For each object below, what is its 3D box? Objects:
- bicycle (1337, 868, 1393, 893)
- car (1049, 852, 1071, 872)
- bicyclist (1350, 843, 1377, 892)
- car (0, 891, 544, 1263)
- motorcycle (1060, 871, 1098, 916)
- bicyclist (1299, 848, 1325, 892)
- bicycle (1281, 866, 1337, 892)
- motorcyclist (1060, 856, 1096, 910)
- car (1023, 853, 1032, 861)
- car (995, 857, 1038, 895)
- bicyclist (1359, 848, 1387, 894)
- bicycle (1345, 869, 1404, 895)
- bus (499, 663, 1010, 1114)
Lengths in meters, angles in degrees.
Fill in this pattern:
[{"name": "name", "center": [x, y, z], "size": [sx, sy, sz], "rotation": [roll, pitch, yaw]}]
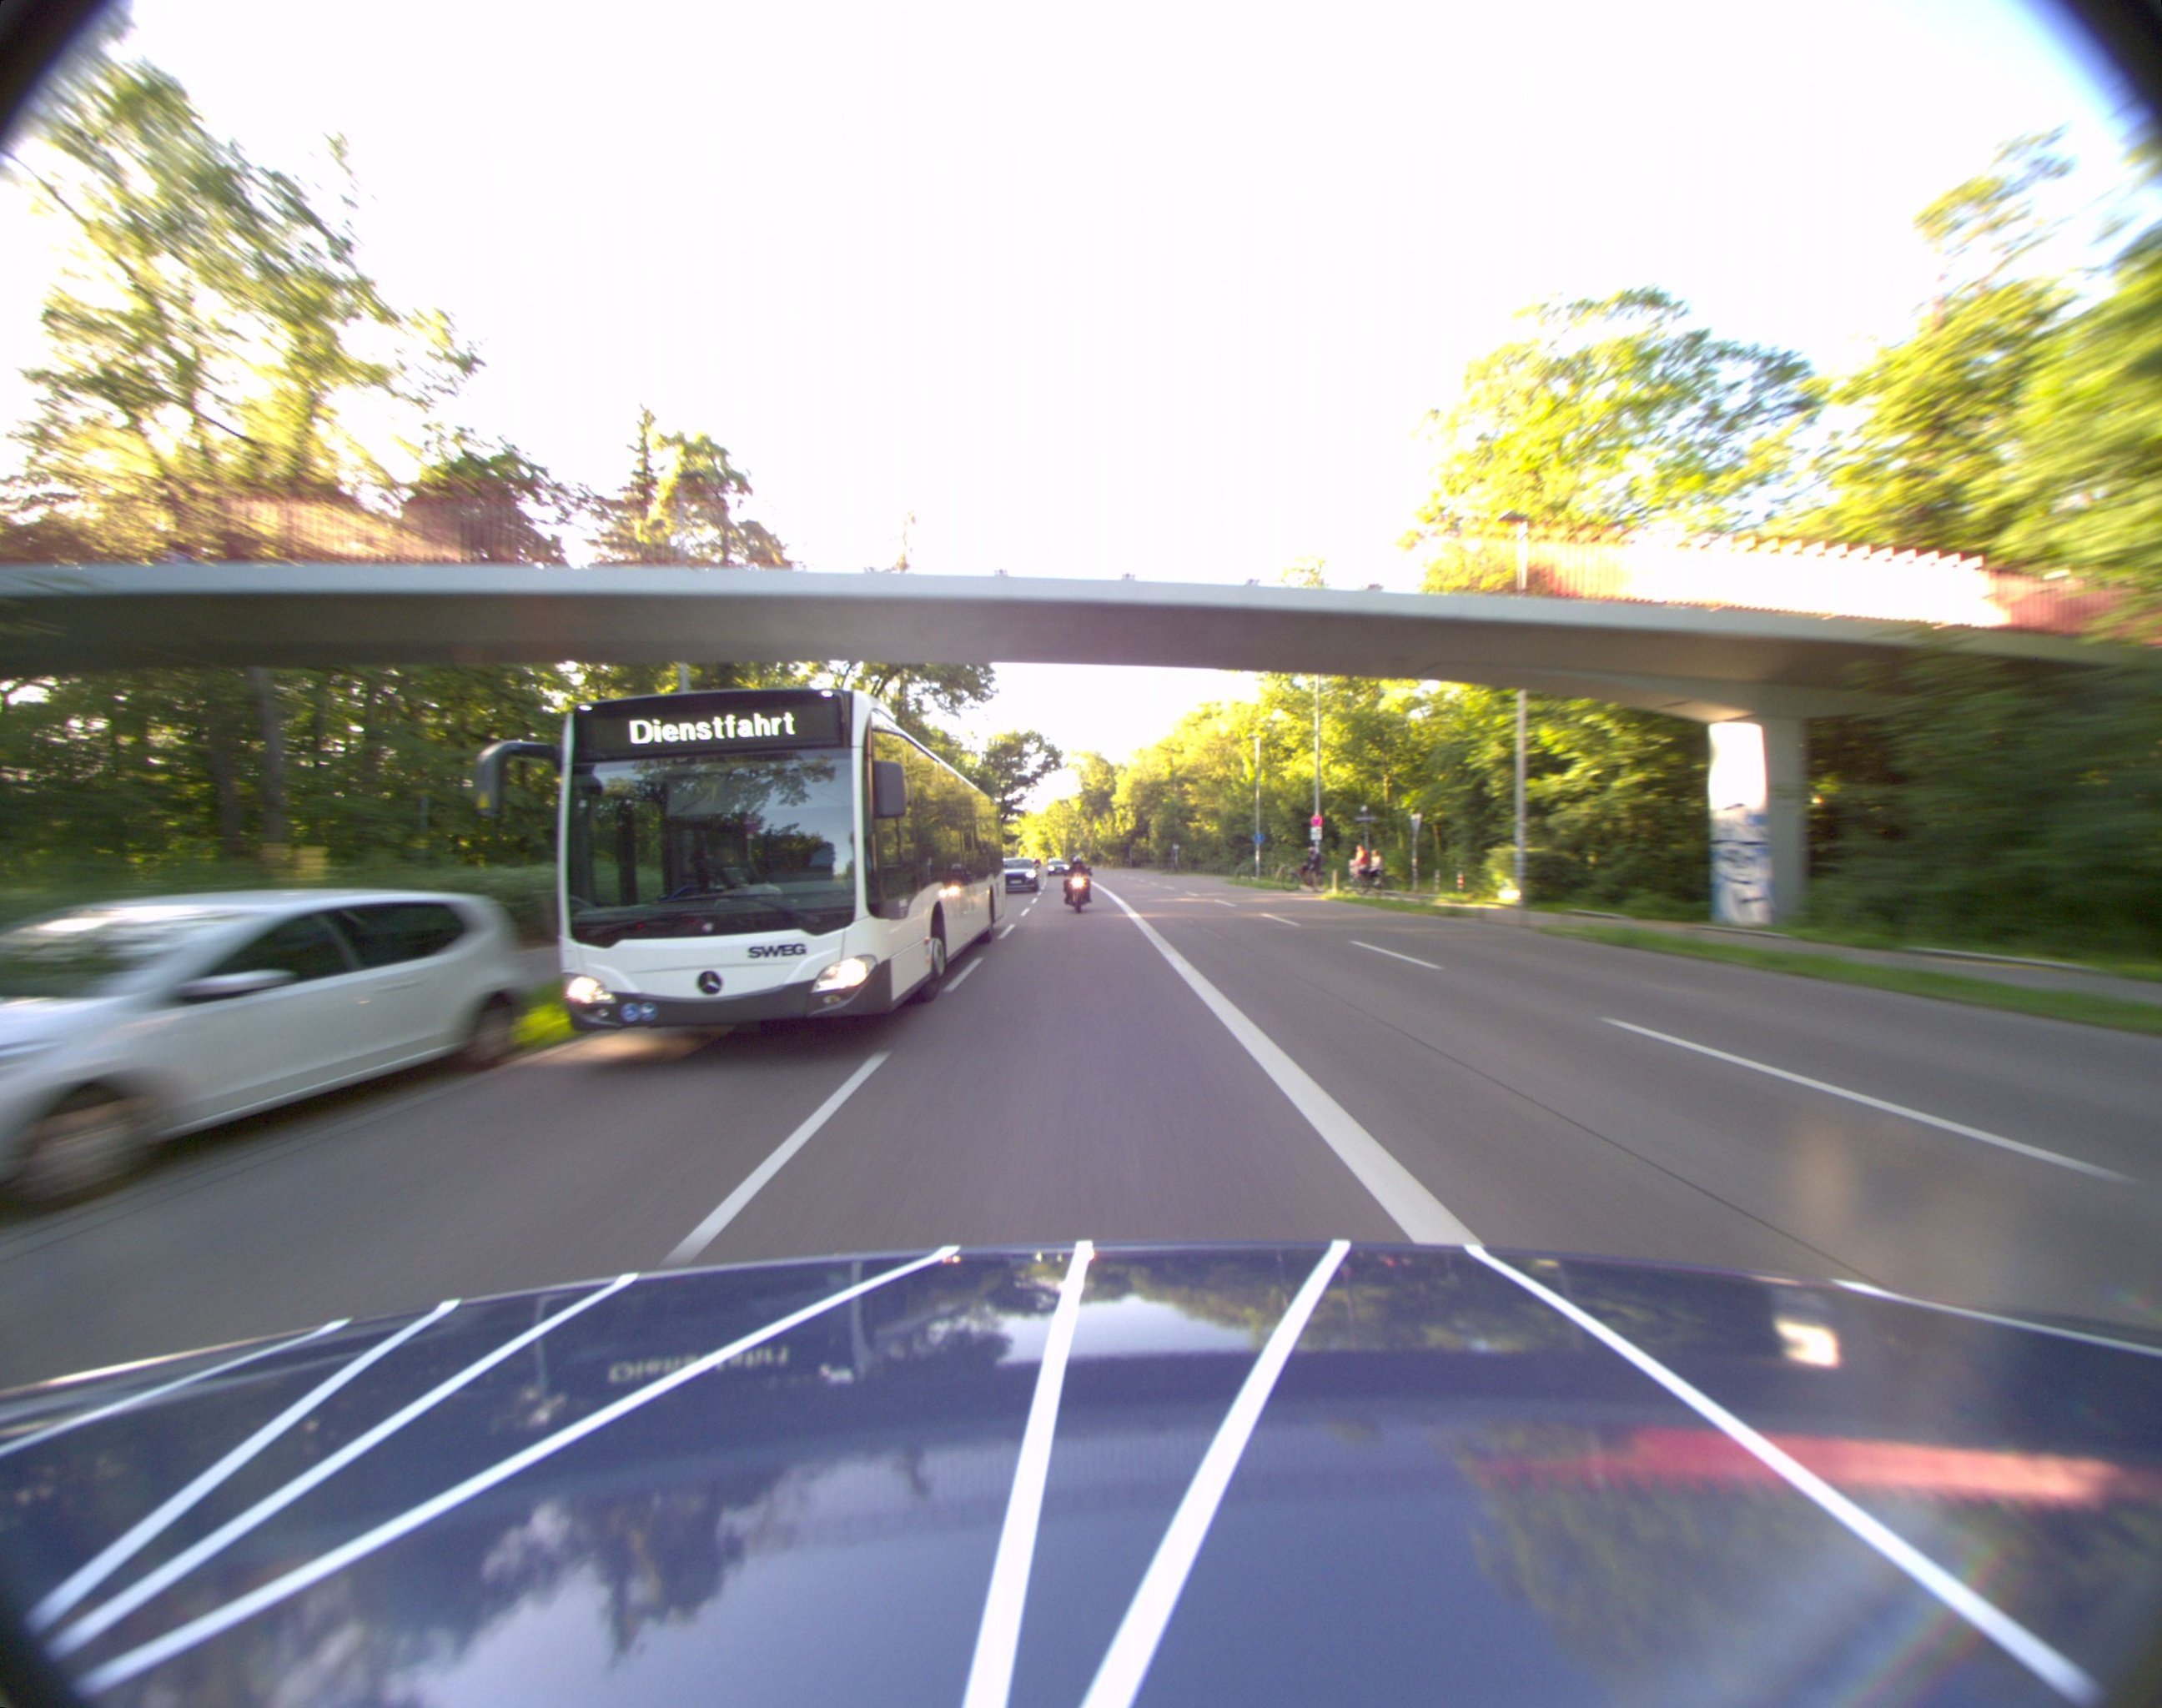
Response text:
[{"name": "bicycle", "center": [11.126, 1.036, 29.798], "size": [1.930, 0.929, 0.825], "rotation": [0, 0, 8]}, {"name": "car", "center": [-1.935, 0.699, 70.368], "size": [1.999, 1.761, 4.231], "rotation": [-1, 0, -1]}, {"name": "bicyclist", "center": [11.079, 0.519, 29.789], "size": [0.797, 1.890, 0.818], "rotation": [-1, 0, 8]}, {"name": "car", "center": [-5.678, 1.090, 4.819], "size": [1.727, 1.487, 3.775], "rotation": [1, 0, 3]}, {"name": "motorcycle", "center": [-0.081, 1.121, 22.348], "size": [0.956, 1.098, 3.339], "rotation": [-3, 0, -1]}, {"name": "bicyclist", "center": [8.804, 0.590, 29.033], "size": [0.797, 1.634, 0.842], "rotation": [-1, 0, 8]}, {"name": "bicycle", "center": [8.696, 0.963, 29.059], "size": [1.930, 0.929, 0.825], "rotation": [-1, 0, 8]}, {"name": "motorcyclist", "center": [-0.080, 0.839, 22.368], "size": [0.953, 1.523, 1.074], "rotation": [-3, 0, 1]}, {"name": "car", "center": [-15.445, 0.862, 219.238], "size": [2.213, 1.949, 4.911], "rotation": [-2, 0, -5]}, {"name": "car", "center": [-3.061, 1.006, 36.385], "size": [1.862, 1.608, 3.998], "rotation": [-3, 0, -4]}, {"name": "bicyclist", "center": [10.950, 0.617, 28.516], "size": [0.797, 1.687, 0.946], "rotation": [-1, 0, 8]}, {"name": "bicycle", "center": [10.982, 1.033, 28.507], "size": [1.930, 0.929, 0.825], "rotation": [-1, 0, 8]}, {"name": "bus", "center": [-2.958, 0.252, 11.721], "size": [2.711, 3.203, 12.277], "rotation": [-2, 0, -1]}]
